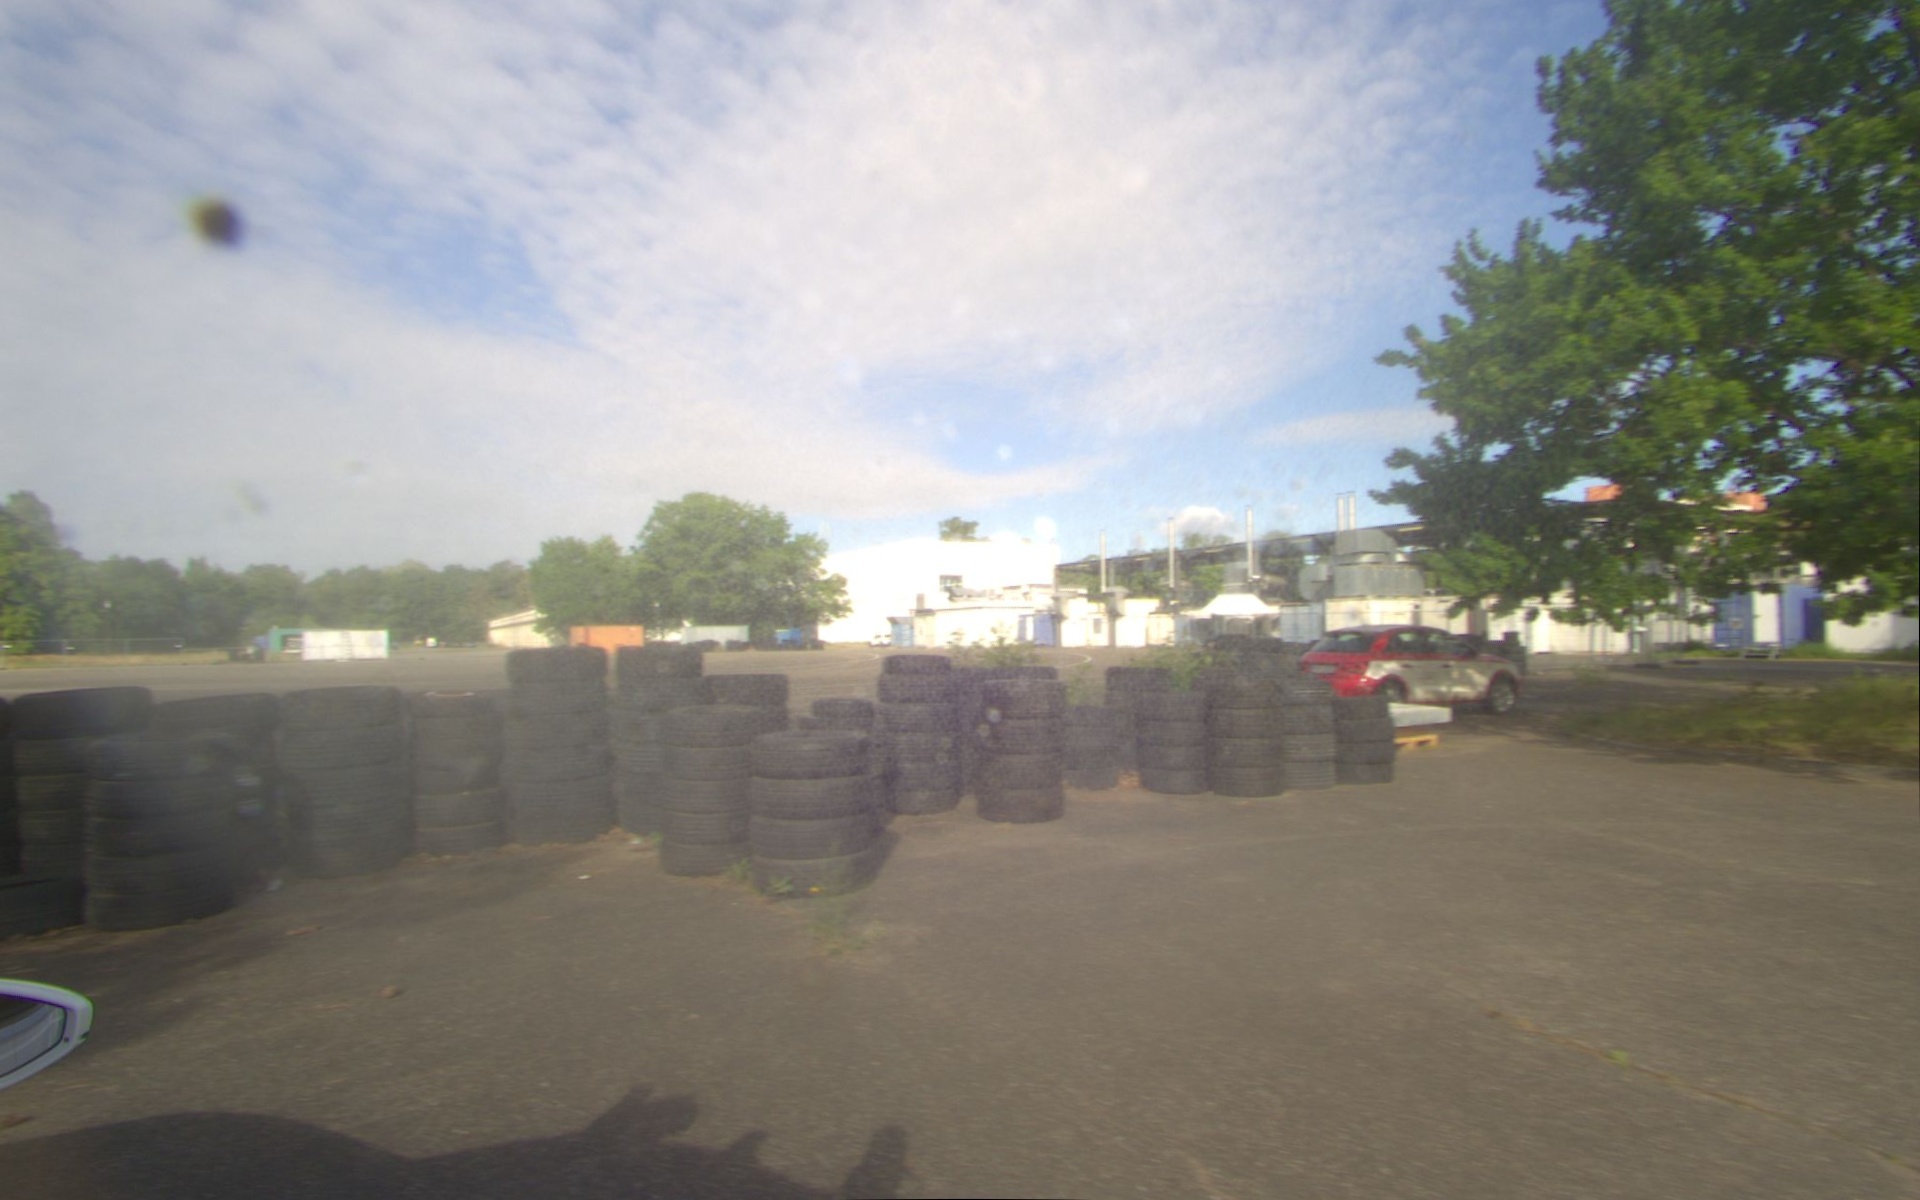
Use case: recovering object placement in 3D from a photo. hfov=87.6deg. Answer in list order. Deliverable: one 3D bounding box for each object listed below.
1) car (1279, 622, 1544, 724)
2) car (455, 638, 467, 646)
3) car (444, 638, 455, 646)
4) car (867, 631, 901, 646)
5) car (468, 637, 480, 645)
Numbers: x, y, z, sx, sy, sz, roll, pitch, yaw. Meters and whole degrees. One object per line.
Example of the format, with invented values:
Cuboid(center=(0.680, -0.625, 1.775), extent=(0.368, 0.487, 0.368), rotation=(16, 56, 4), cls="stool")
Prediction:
Cuboid(center=(7.329, 1.116, 16.271), extent=(3.935, 1.483, 1.723), rotation=(0, -2, -23), cls="car")
Cuboid(center=(-109.524, 9.174, 219.740), extent=(2.010, 1.831, 3.978), rotation=(0, -2, -32), cls="car")
Cuboid(center=(-111.379, 9.182, 218.456), extent=(1.973, 1.772, 3.978), rotation=(0, -2, -32), cls="car")
Cuboid(center=(-8.417, 4.277, 110.555), extent=(1.849, 1.584, 4.524), rotation=(0, -2, -31), cls="car")
Cuboid(center=(-107.350, 9.095, 220.996), extent=(1.973, 1.772, 3.978), rotation=(0, -2, -32), cls="car")
